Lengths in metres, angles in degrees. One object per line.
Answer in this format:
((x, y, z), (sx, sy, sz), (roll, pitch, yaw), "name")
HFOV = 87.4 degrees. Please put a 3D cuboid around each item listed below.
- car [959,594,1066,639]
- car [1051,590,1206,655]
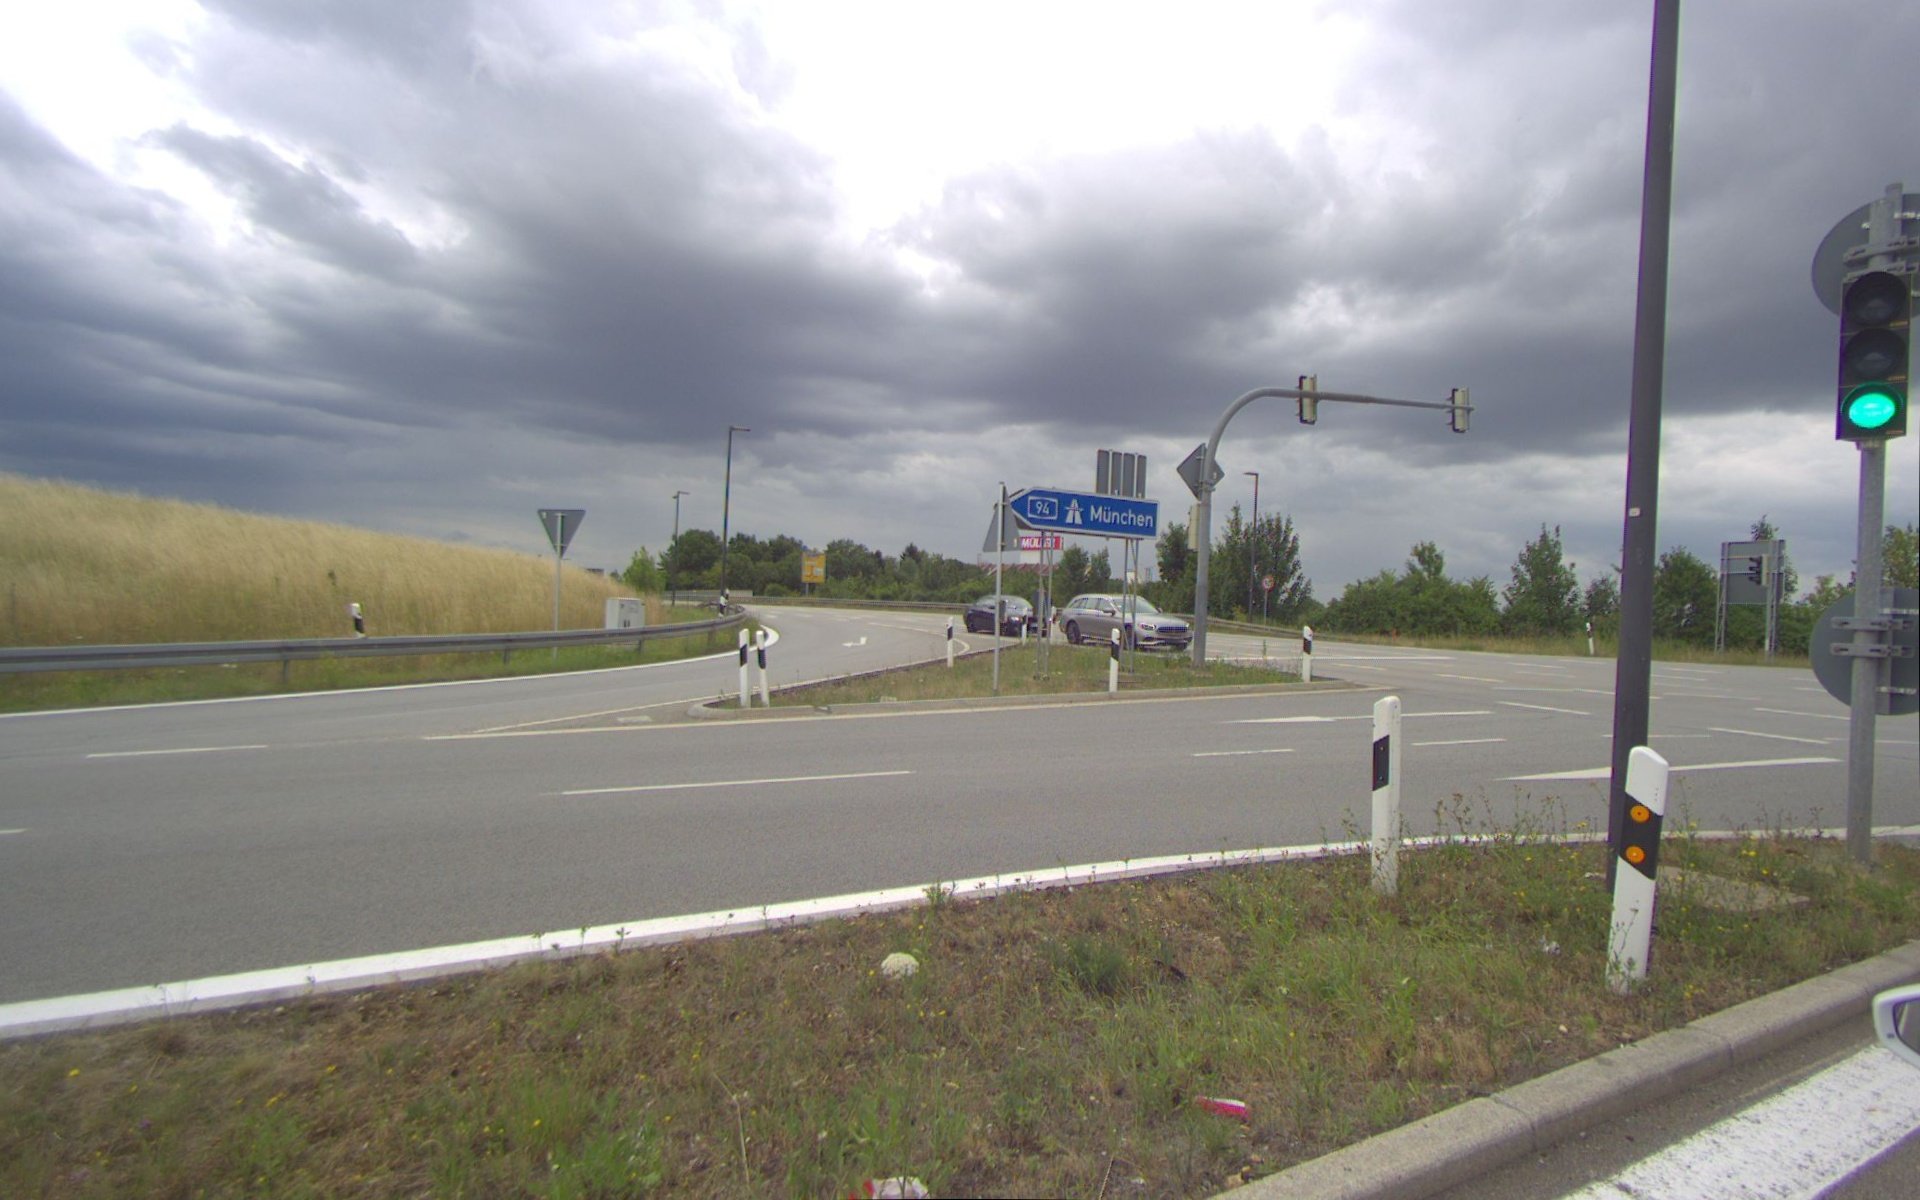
((1.763, 0.536, 35.404), (1.690, 1.429, 4.644), (2, -1, -26), "car")
((4.684, 0.565, 28.817), (1.895, 1.632, 4.916), (0, 1, -26), "car")
